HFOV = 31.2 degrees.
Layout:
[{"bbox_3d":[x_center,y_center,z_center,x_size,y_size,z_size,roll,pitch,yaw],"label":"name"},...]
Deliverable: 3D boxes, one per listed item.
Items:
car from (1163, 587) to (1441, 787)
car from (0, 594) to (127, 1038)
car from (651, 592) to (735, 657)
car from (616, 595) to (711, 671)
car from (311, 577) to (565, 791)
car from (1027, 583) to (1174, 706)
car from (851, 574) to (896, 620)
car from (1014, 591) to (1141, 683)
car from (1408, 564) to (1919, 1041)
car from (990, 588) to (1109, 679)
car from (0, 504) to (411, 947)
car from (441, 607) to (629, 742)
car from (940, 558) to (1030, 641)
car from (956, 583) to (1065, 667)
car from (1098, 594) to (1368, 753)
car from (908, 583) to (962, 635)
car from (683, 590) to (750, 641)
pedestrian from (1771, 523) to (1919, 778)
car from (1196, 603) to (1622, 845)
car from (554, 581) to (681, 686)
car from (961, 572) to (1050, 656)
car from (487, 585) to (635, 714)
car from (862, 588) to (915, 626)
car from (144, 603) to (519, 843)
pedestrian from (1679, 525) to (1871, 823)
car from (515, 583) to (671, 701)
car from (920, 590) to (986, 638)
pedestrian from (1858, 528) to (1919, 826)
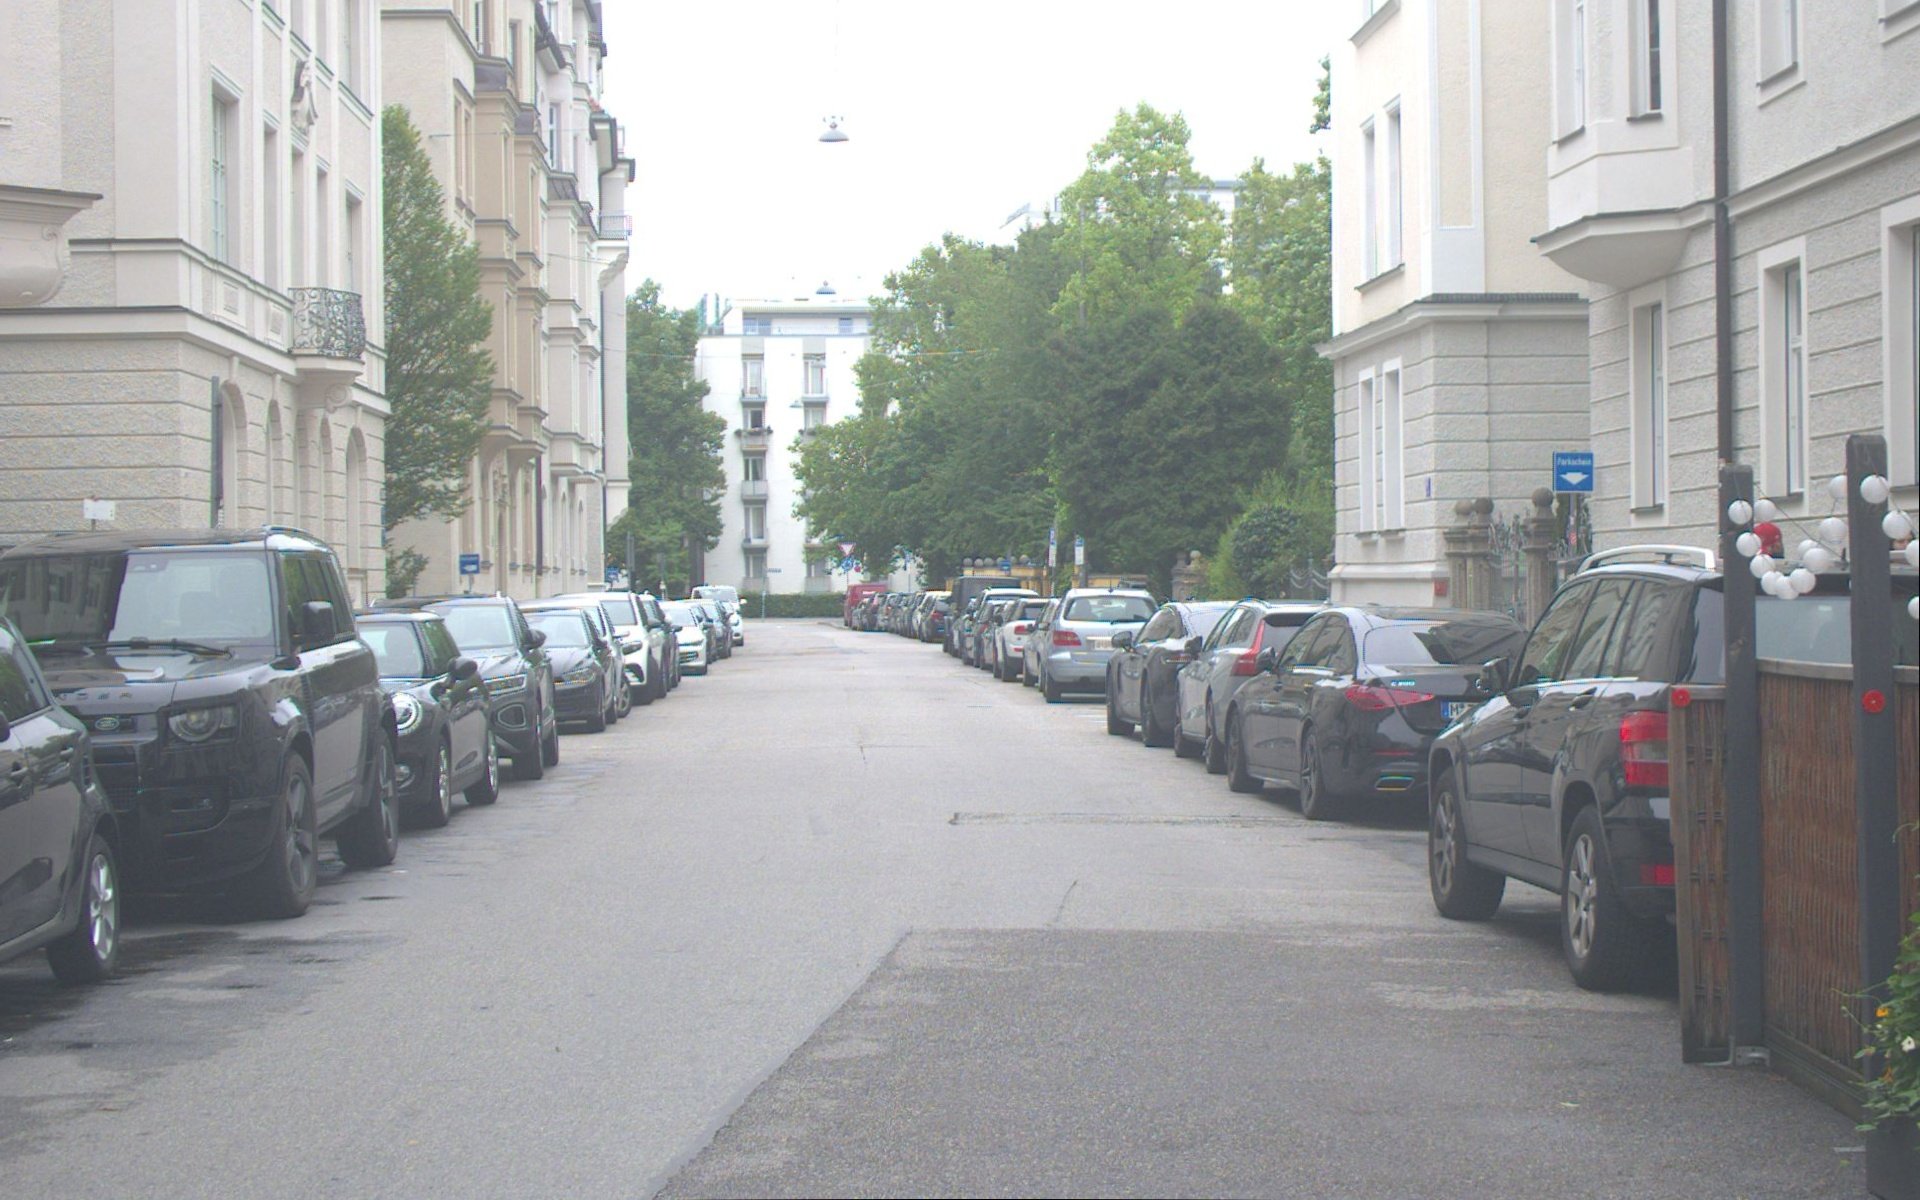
[{"bbox_3d":[2.852,0.683,29.534,1.760,1.480,4.421,2,1,-2],"label":"car"},{"bbox_3d":[-4.122,0.761,12.088,1.616,1.508,3.532,-1,0,-2],"label":"car"},{"bbox_3d":[-6.634,0.592,85.822,1.836,1.431,4.245,-3,1,-2],"label":"car"},{"bbox_3d":[-6.114,0.660,71.200,1.836,1.429,4.245,-2,1,-4],"label":"car"},{"bbox_3d":[-4.326,0.652,29.003,1.726,1.613,4.122,-2,0,-4],"label":"car"},{"bbox_3d":[1.943,0.593,48.701,1.822,1.564,4.400,2,1,0],"label":"car"},{"bbox_3d":[-3.871,-0.150,153.955,1.836,1.920,4.005,2,1,0],"label":"car"},{"bbox_3d":[1.832,0.564,54.643,1.754,1.401,3.452,1,0,-2],"label":"car"},{"bbox_3d":[3.061,0.694,14.147,1.800,1.669,4.189,0,0,-1],"label":"car"},{"bbox_3d":[1.522,0.560,59.546,1.784,1.499,4.065,1,0,-2],"label":"car"},{"bbox_3d":[-4.010,0.533,17.368,1.836,1.888,4.764,-2,1,-2],"label":"car"},{"bbox_3d":[-4.951,0.833,40.526,1.792,1.410,4.279,-3,0,-2],"label":"car"},{"bbox_3d":[0.599,-0.041,86.344,1.950,1.948,4.666,1,1,-3],"label":"car"},{"bbox_3d":[1.019,0.495,71.862,1.750,1.605,4.425,2,1,-6],"label":"car"},{"bbox_3d":[2.650,0.685,34.486,1.993,1.452,4.713,-1,0,-4],"label":"car"},{"bbox_3d":[-0.846,0.306,114.519,1.513,1.656,3.674,1,0,-5],"label":"car"},{"bbox_3d":[-7.544,0.472,106.719,1.836,1.433,4.275,-3,1,-2],"label":"car"},{"bbox_3d":[6.461,0.351,24.925,0.883,1.807,1.111,0,0,-1],"label":"pedestrian"},{"bbox_3d":[2.995,0.784,24.052,1.836,1.394,4.975,2,1,-6],"label":"car"},{"bbox_3d":[-5.523,0.513,55.799,1.836,1.613,4.245,0,1,-3],"label":"car"},{"bbox_3d":[0.990,0.321,76.917,1.723,1.763,4.413,2,0,-2],"label":"car"},{"bbox_3d":[-5.203,0.614,45.215,1.782,1.536,4.258,-2,0,-6],"label":"car"},{"bbox_3d":[-2.986,0.295,143.169,1.838,1.513,3.948,1,0,-6],"label":"car"},{"bbox_3d":[-4.215,0.773,23.705,1.836,1.389,4.245,-2,1,-1],"label":"car"},{"bbox_3d":[5.071,0.444,21.447,0.883,1.805,1.111,0,0,-3],"label":"pedestrian"},{"bbox_3d":[-5.302,0.567,50.195,1.915,1.613,4.571,0,1,-2],"label":"car"},{"bbox_3d":[-0.229,0.428,104.567,1.838,1.408,4.343,1,0,-2],"label":"car"},{"bbox_3d":[6.123,0.453,21.133,0.883,1.780,1.111,0,0,-2],"label":"pedestrian"}]
